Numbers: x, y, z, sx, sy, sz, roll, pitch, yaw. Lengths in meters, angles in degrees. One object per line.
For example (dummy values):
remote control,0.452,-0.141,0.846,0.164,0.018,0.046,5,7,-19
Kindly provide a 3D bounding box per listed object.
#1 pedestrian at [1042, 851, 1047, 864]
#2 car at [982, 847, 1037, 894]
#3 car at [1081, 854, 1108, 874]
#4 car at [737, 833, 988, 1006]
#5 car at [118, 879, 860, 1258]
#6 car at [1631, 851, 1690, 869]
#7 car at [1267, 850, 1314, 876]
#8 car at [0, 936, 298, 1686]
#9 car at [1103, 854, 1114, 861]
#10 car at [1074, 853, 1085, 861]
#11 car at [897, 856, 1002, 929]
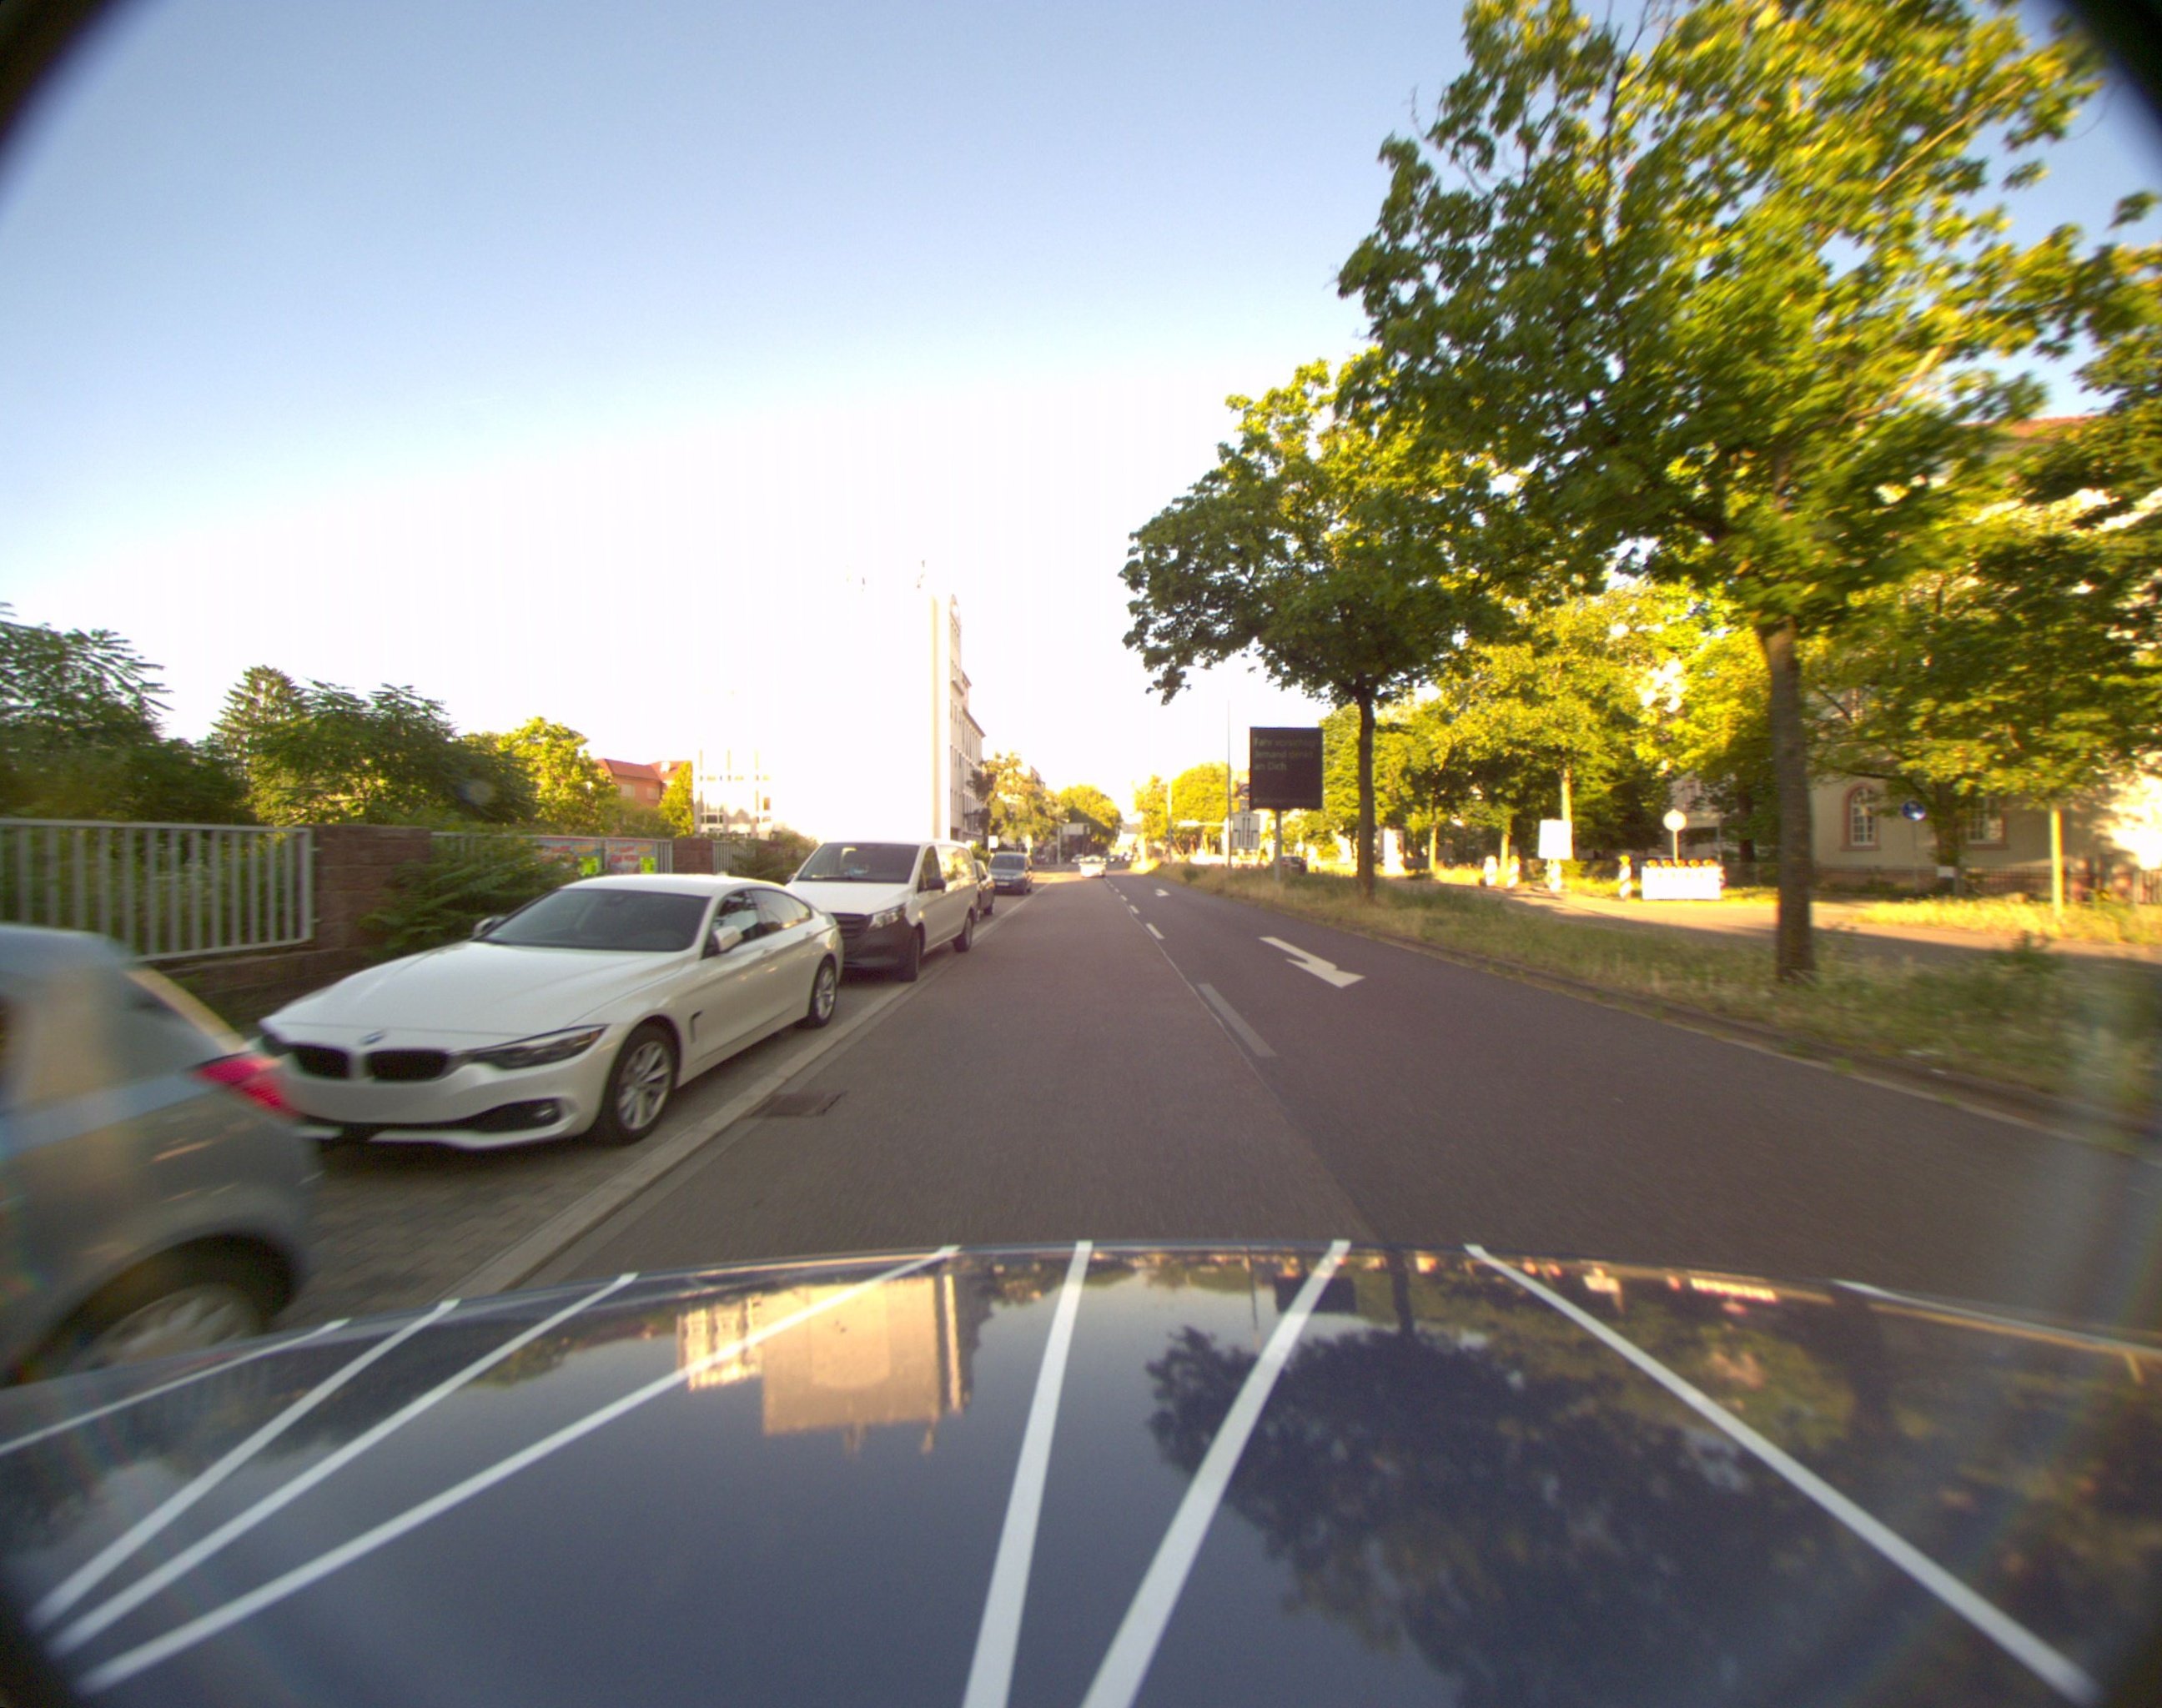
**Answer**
pedestrian,-5.457,0.498,113.089,0.721,1.834,0.748,0,0,-3
car,-3.051,0.658,33.207,1.778,1.818,4.555,2,0,2
car,1.005,0.711,55.241,1.895,1.455,3.966,0,0,1
car,-2.848,0.743,11.345,1.891,1.907,5.180,3,0,3
car,-3.248,1.003,5.607,1.732,1.377,4.642,3,0,1
car,46.362,0.441,60.880,1.698,1.368,4.000,-2,0,1
car,12.786,0.508,46.609,1.778,1.409,4.008,3,0,2
car,-3.087,0.981,0.200,1.704,1.479,3.892,3,0,0
car,5.028,0.569,140.397,1.947,1.259,4.163,0,0,0
car,-0.326,0.554,140.885,1.947,1.514,4.163,0,0,0
car,-3.242,0.886,19.654,1.778,1.565,4.499,2,0,1
